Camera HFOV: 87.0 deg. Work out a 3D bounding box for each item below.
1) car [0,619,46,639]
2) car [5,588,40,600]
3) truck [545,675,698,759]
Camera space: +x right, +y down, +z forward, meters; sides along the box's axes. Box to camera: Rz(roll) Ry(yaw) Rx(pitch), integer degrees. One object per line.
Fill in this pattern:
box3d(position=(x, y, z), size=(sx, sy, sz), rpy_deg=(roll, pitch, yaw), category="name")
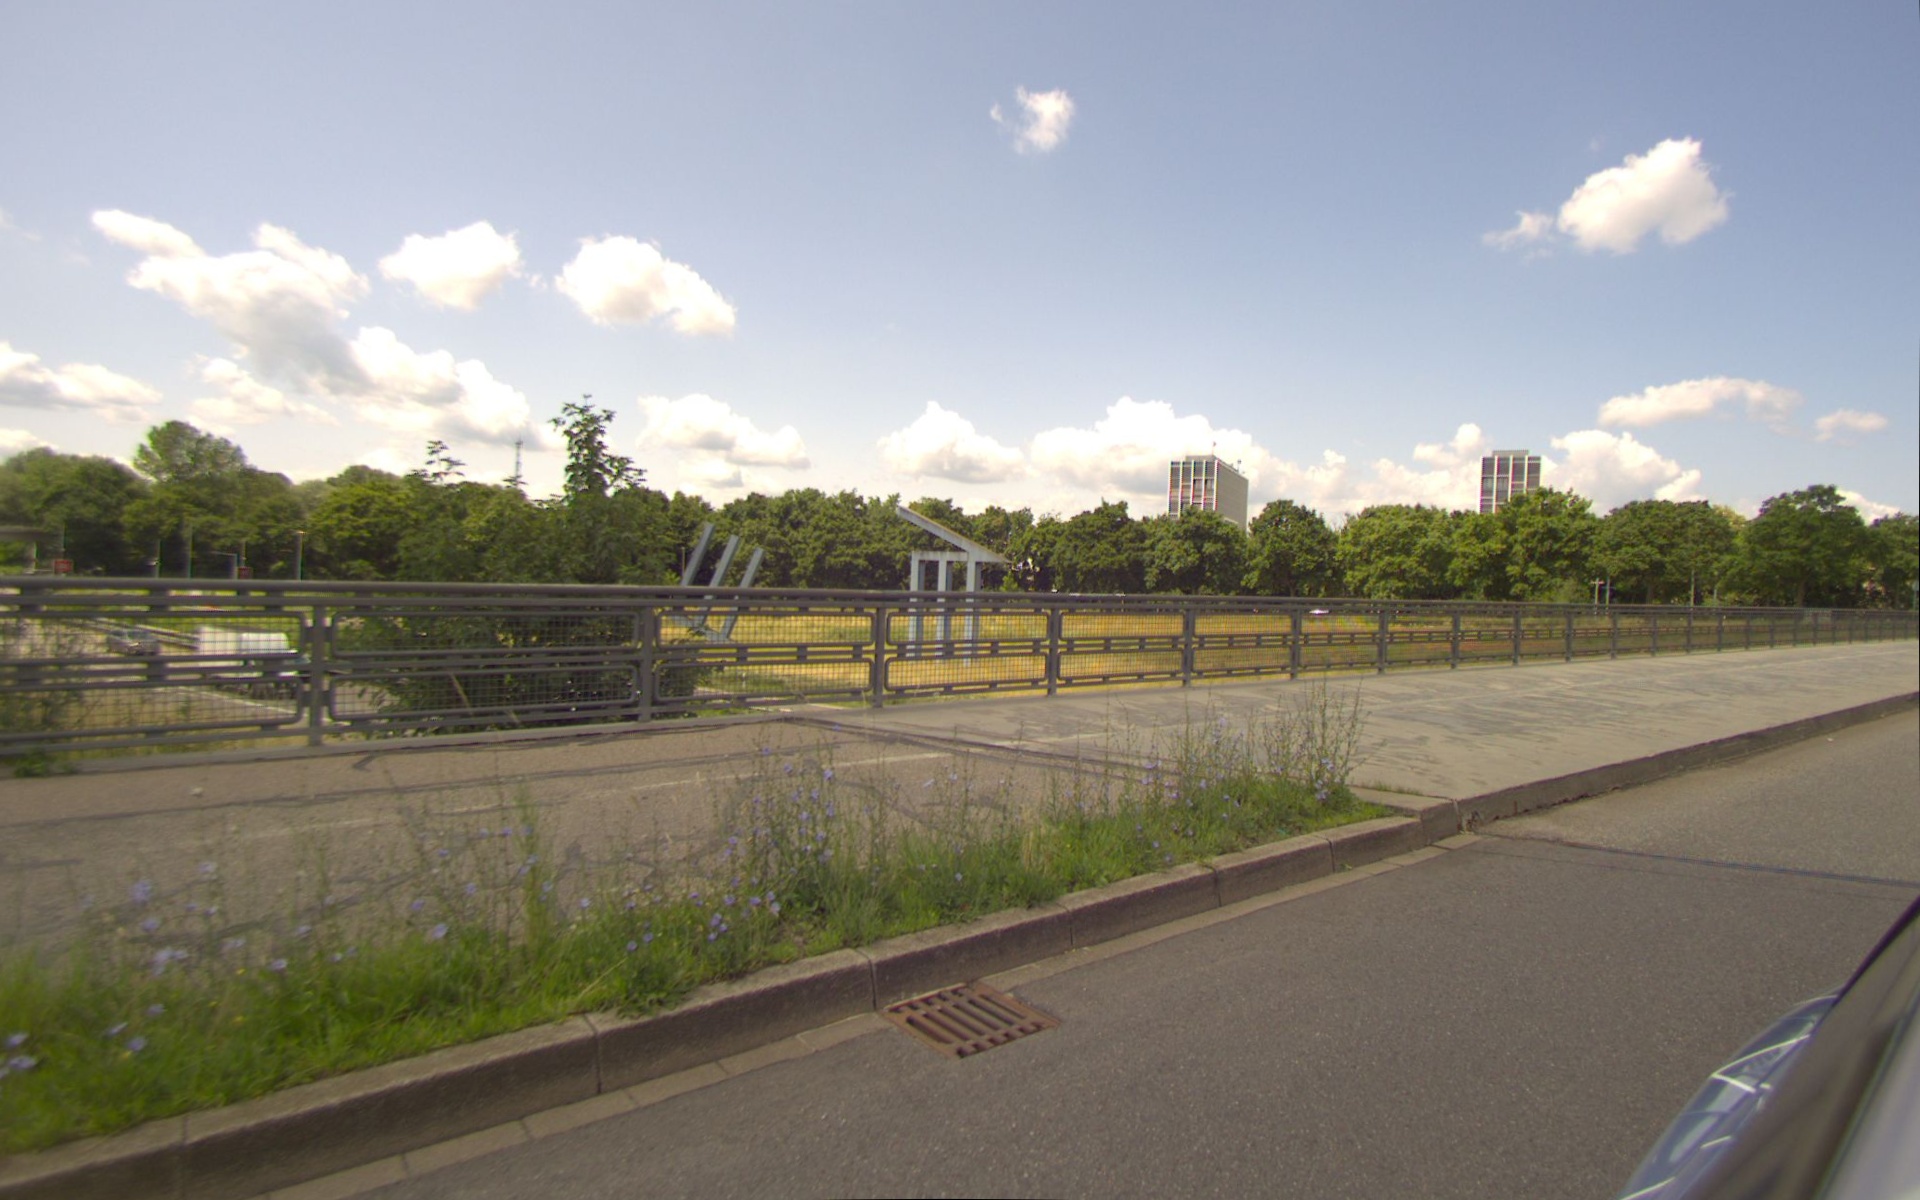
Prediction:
box3d(position=(-66.663, 2.036, 71.571), size=(3.969, 1.304, 1.977), rpy_deg=(1, -1, 32), category="car")
box3d(position=(-107.645, -0.724, 116.188), size=(3.969, 1.304, 1.977), rpy_deg=(1, -1, 32), category="car")
box3d(position=(-13.793, 4.630, 41.039), size=(6.560, 2.736, 1.979), rpy_deg=(1, -1, 30), category="truck")
